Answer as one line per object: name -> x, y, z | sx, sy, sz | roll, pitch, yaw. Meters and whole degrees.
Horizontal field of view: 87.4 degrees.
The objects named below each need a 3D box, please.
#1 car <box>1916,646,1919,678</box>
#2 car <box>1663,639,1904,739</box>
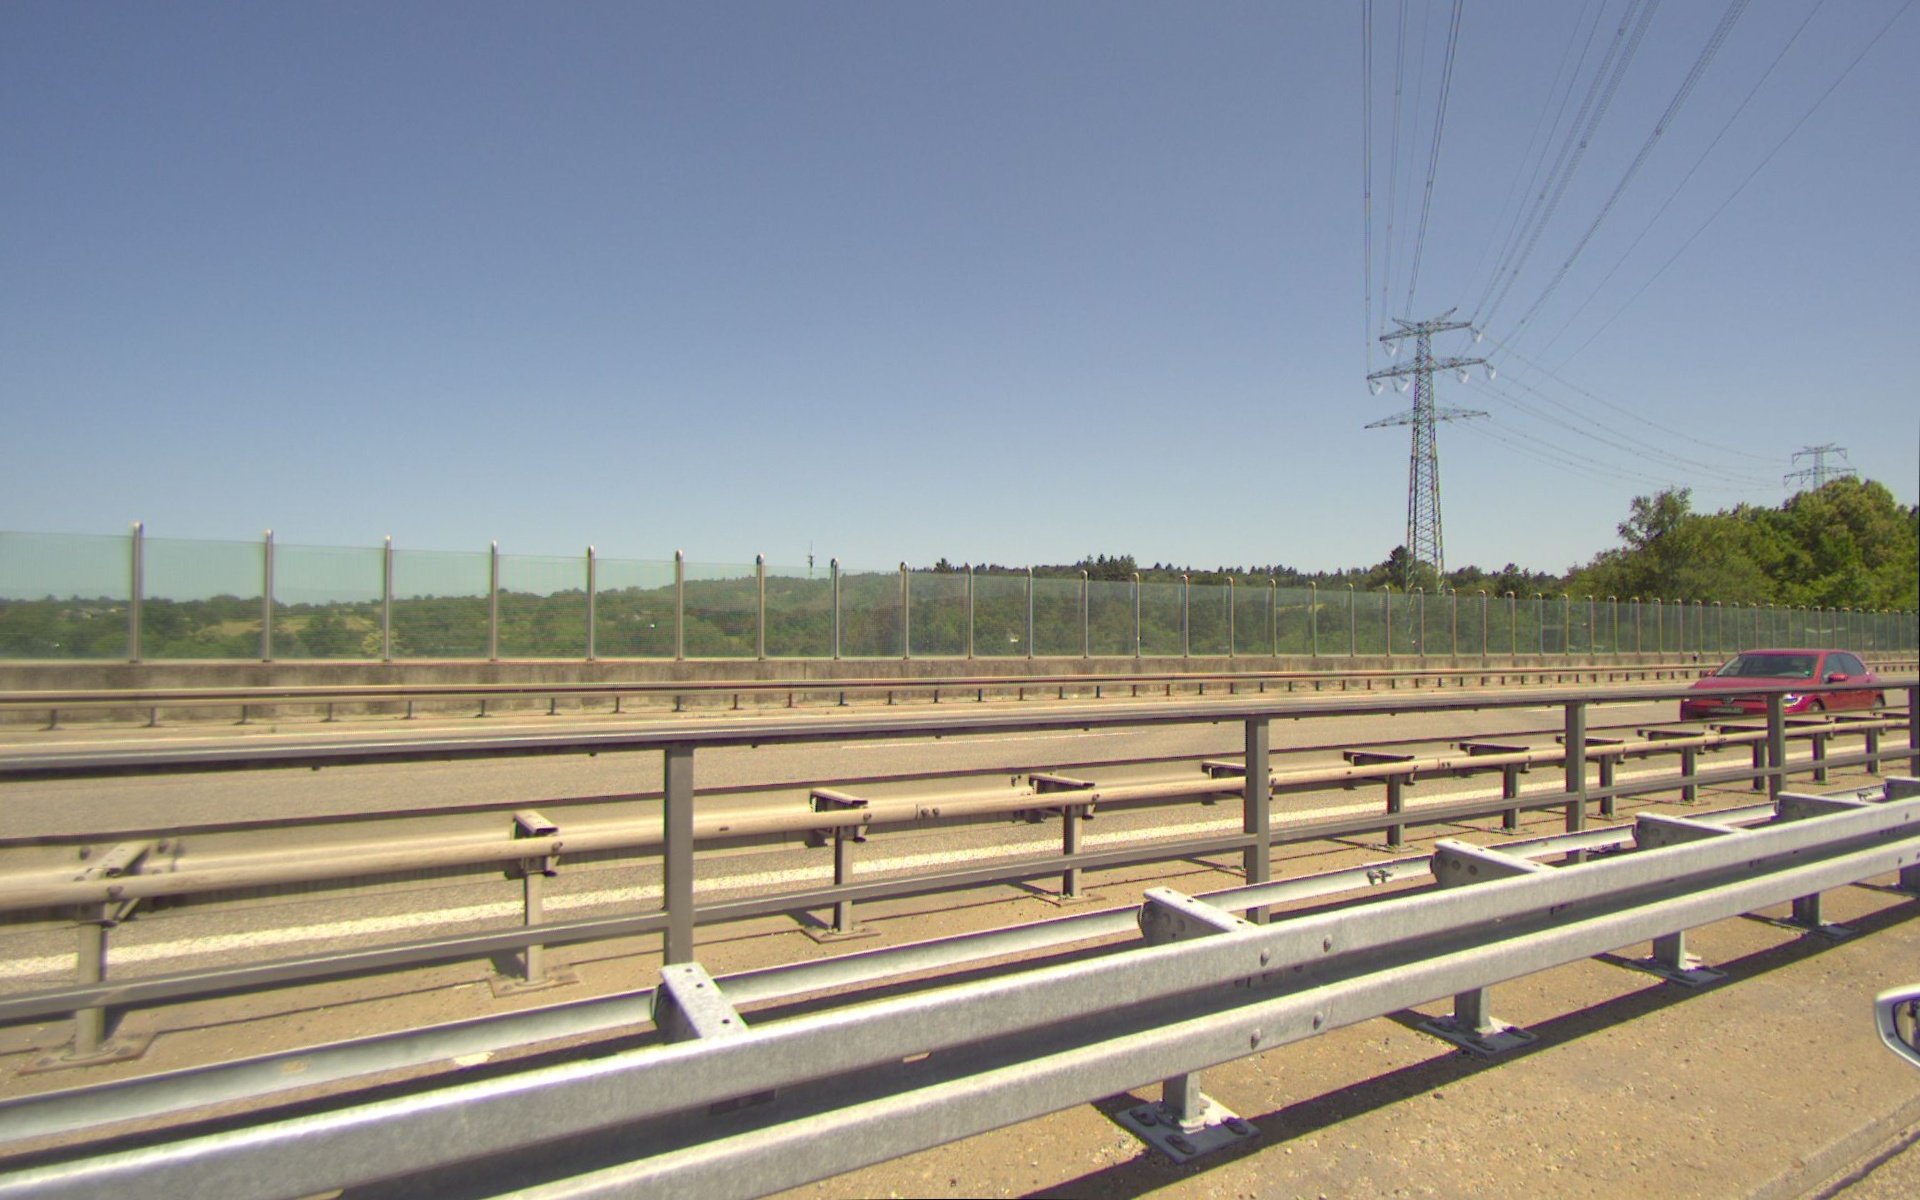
car -> 44.410, 2.761, 44.828 | 3.634, 1.412, 1.597 | 1, -3, -31
car -> 14.295, 1.479, 17.398 | 4.368, 1.466, 1.833 | 2, 0, -31
